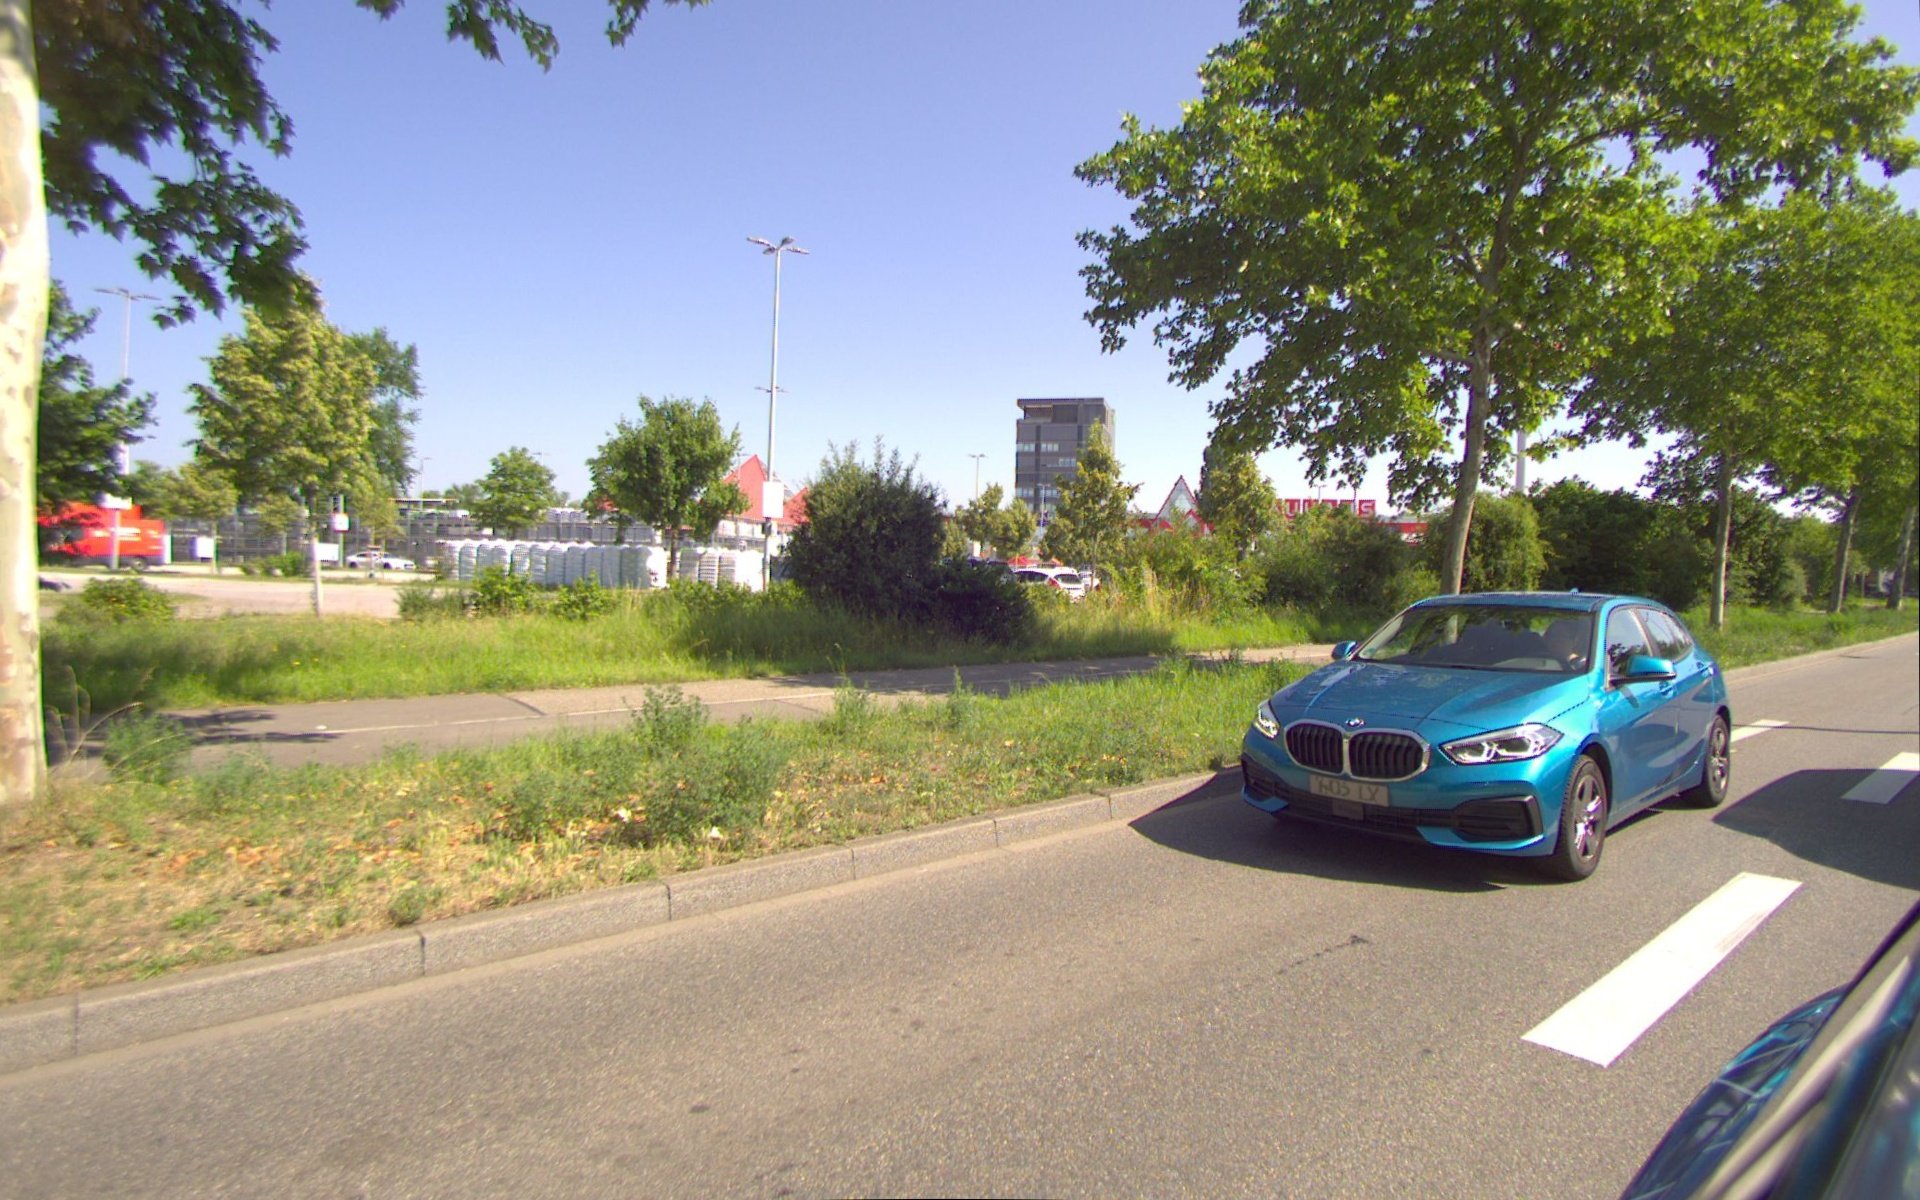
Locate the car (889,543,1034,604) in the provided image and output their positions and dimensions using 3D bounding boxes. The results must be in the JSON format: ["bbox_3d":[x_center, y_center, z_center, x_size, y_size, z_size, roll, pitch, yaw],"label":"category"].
[{"bbox_3d":[-0.013,-0.730,29.144,1.850,1.611,4.074,-1,1,-44],"label":"car"}]

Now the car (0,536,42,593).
[{"bbox_3d":[-27.098,-0.963,27.094,1.522,1.552,3.469,-1,1,17],"label":"car"}]

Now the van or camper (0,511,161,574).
[{"bbox_3d":[-43.138,-2.684,49.069,1.971,2.738,7.257,-1,1,14],"label":"van or camper"}]

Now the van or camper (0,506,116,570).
[{"bbox_3d":[-46.596,-3.048,50.418,1.971,2.979,7.257,-1,1,14],"label":"van or camper"}]

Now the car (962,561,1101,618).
[{"bbox_3d":[2.147,-0.324,31.135,1.850,1.611,4.074,-1,1,-44],"label":"car"}]

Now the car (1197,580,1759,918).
[{"bbox_3d":[3.493,0.611,6.473,4.060,1.437,1.871,-1,2,-42],"label":"car"}]
